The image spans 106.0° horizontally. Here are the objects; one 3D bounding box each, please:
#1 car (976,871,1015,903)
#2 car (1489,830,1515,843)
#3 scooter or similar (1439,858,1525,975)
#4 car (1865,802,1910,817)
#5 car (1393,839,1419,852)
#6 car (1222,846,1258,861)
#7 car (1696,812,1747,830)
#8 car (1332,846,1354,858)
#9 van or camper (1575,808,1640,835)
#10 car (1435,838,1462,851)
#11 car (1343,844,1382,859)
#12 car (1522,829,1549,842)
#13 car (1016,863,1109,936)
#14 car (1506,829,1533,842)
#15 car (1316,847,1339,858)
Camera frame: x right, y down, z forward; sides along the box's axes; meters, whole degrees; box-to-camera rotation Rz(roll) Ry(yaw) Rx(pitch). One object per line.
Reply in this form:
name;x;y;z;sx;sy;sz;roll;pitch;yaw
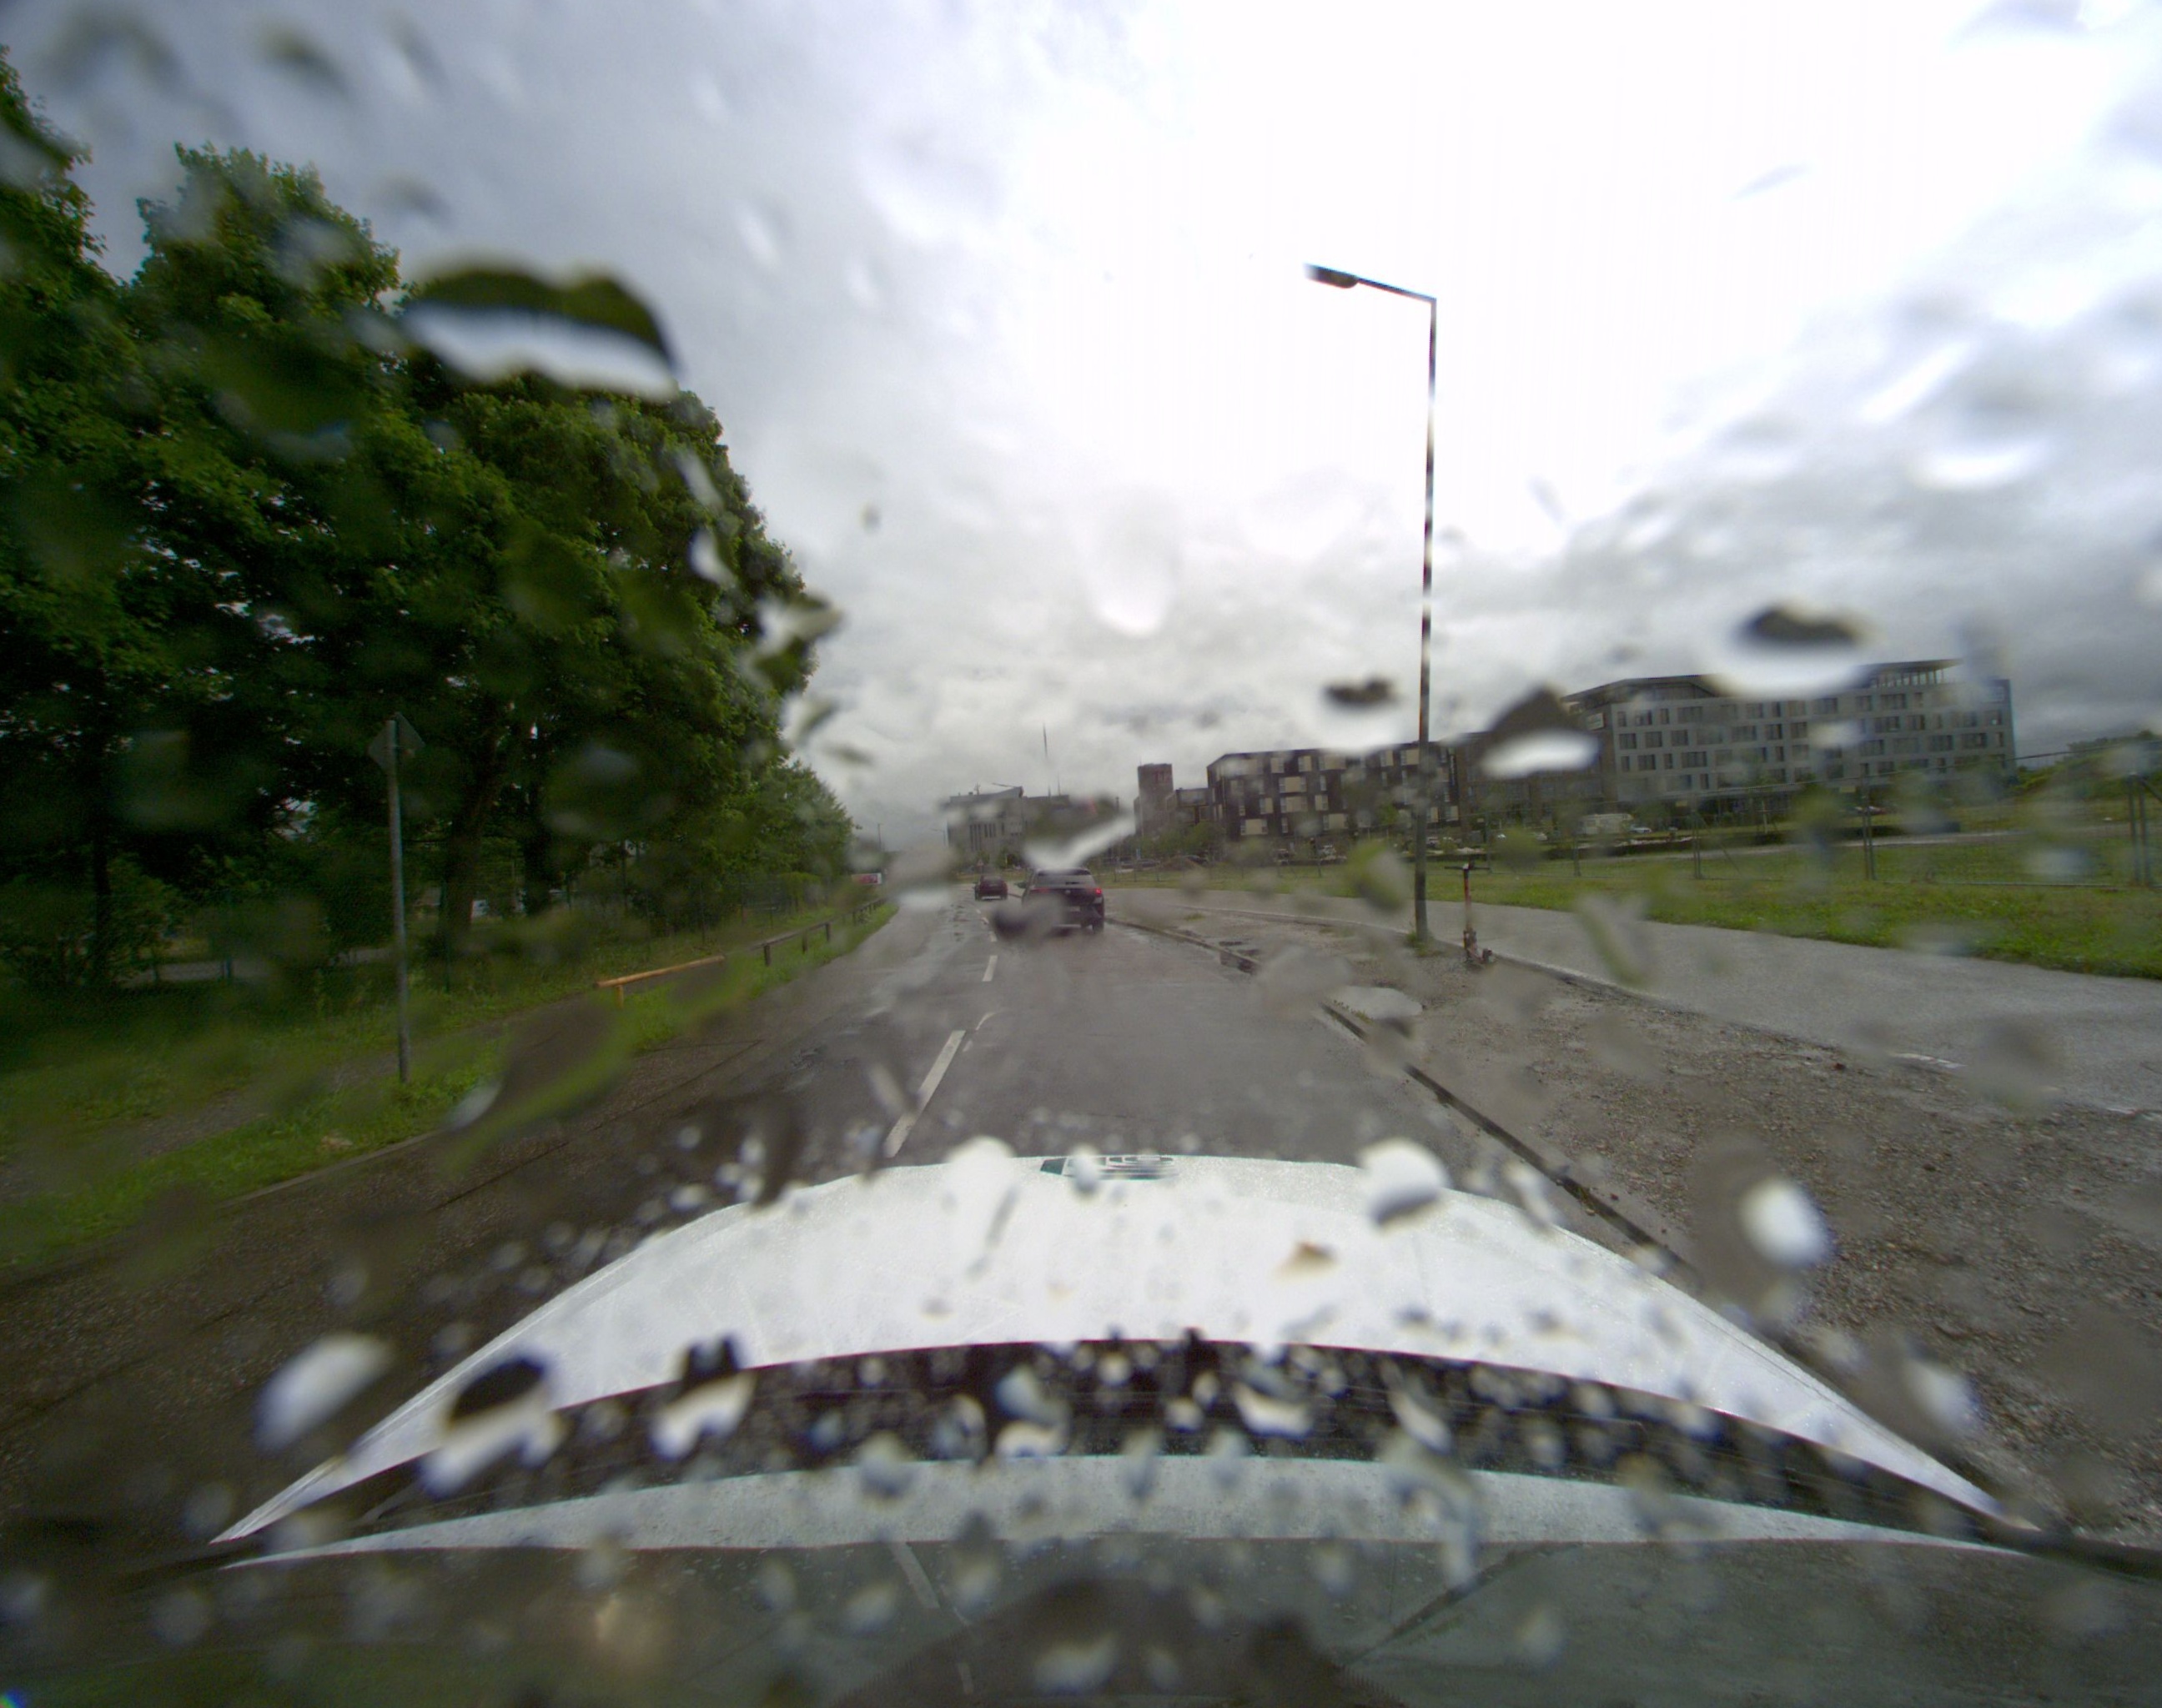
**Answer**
car;-4.819;1.804;45.450;1.841;1.442;3.987;-7;0;-9
car;58.605;-2.476;113.447;1.540;1.615;3.837;-1;-1;-3
scooter or similar;4.593;0.675;9.402;0.487;1.215;1.345;-4;-1;12
car;108.815;-5.973;109.903;1.788;1.687;4.369;-1;-1;0
car;44.731;-1.187;112.207;1.776;1.615;3.837;-1;-1;-3
car;19.728;-0.090;101.059;3.982;1.728;1.995;-1;-1;-7
car;79.757;-4.083;101.463;4.779;2.014;2.000;-1;-1;1
car;36.250;-0.296;112.623;1.634;1.396;3.777;-2;-2;-2
van or camper;66.974;-4.095;103.634;6.761;3.201;2.527;-1;-1;-3
car;51.011;-1.293;113.054;1.776;1.615;3.837;-1;-1;-3
car;35.380;-0.327;102.414;4.312;1.772;1.999;1;-1;-2
car;63.413;-2.582;113.696;1.540;1.615;3.837;-1;-1;-3
car;-0.545;1.016;19.613;1.983;1.520;3.993;-1;-1;-5
car;61.099;-2.531;113.511;1.540;1.615;3.837;-1;-1;-3
car;34.047;-0.205;112.509;1.759;1.395;3.803;-1;-1;-3
